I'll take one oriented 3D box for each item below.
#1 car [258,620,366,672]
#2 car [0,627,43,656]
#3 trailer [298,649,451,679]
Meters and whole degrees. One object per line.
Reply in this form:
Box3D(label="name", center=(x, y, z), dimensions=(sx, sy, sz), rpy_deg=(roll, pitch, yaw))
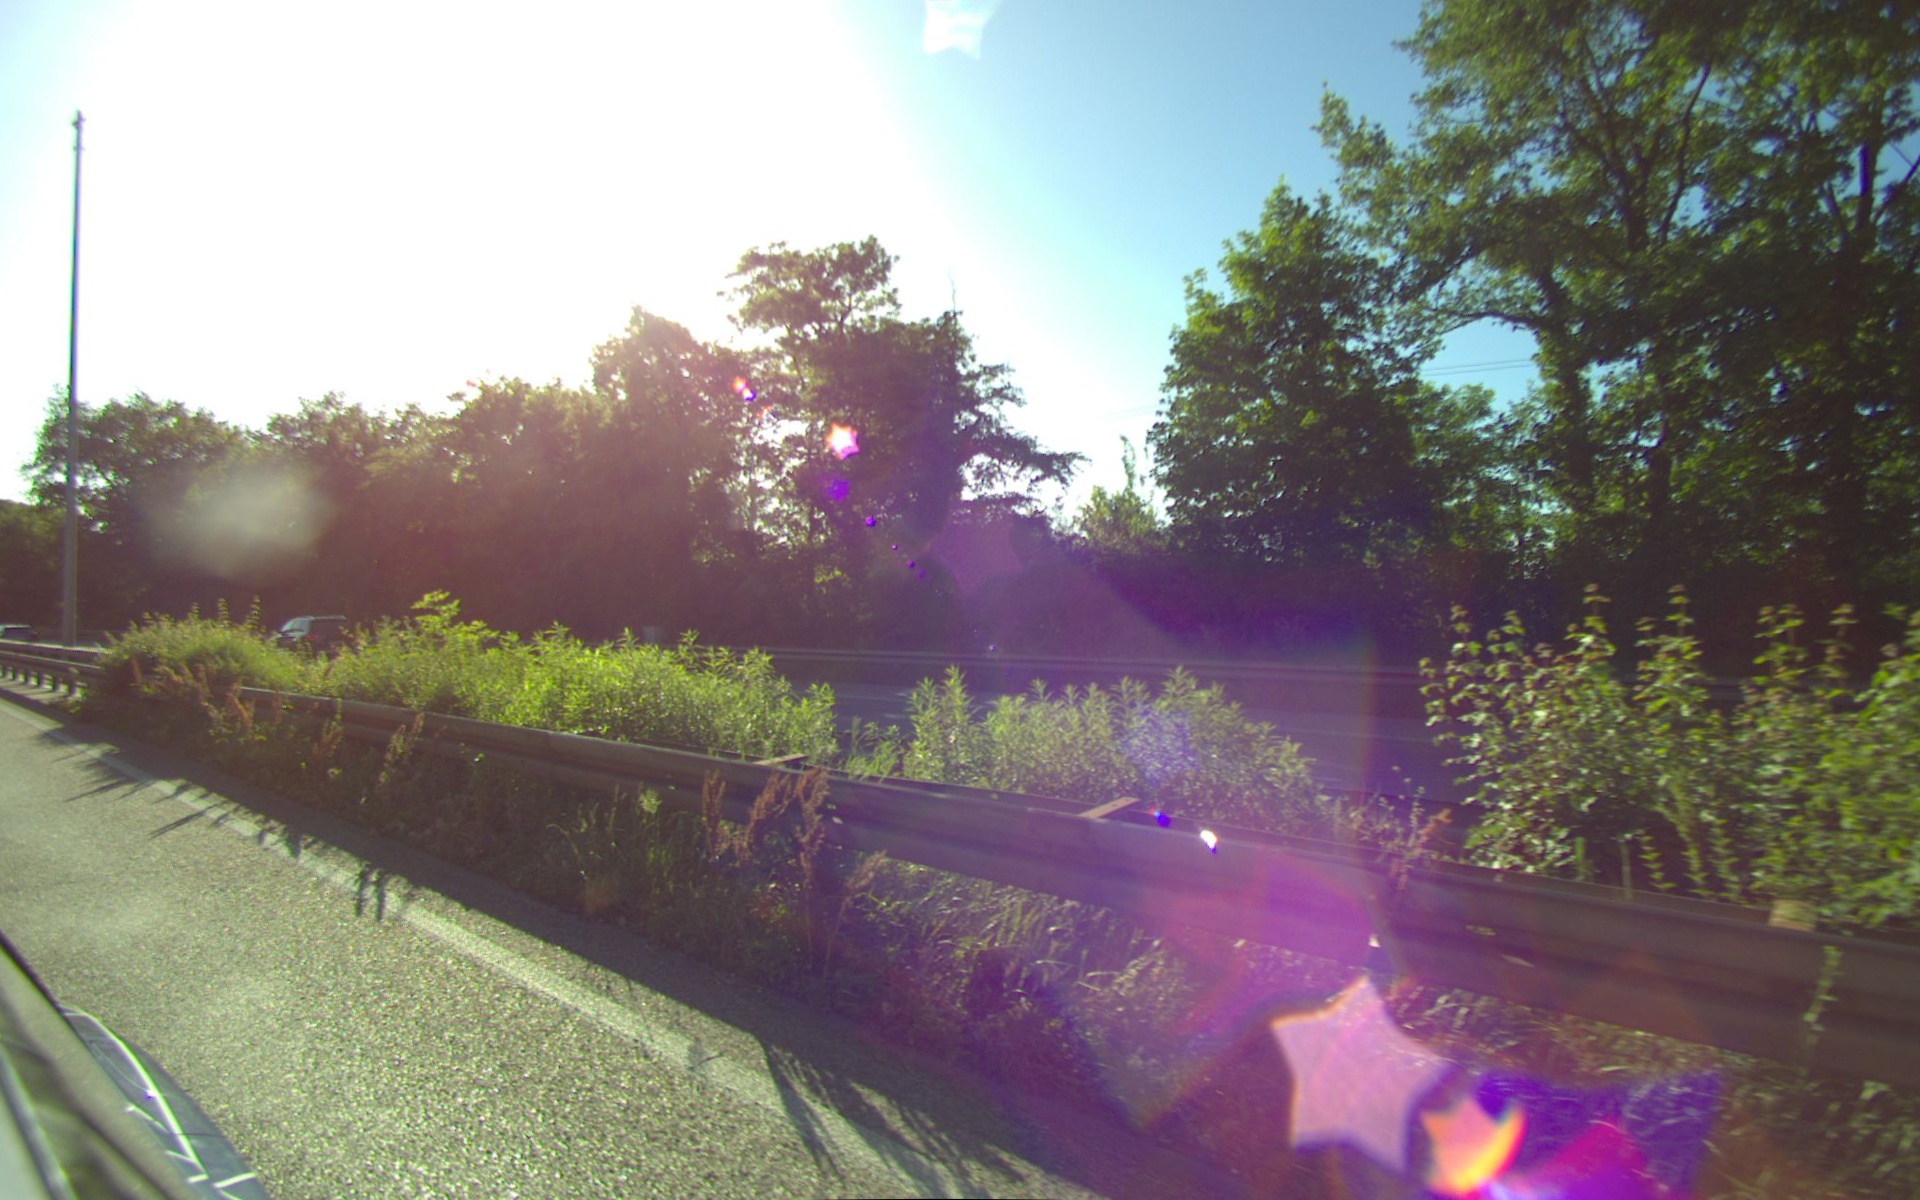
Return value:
Box3D(label="car", center=(-23.266, 1.604, 36.273), dimensions=(4.740, 1.737, 1.941), rpy_deg=(-1, -1, 40))
Box3D(label="car", center=(-51.312, 2.214, 54.708), dimensions=(4.872, 1.478, 1.941), rpy_deg=(-1, -1, 40))
Box3D(label="trailer", center=(-18.944, 2.023, 32.590), dimensions=(6.325, 0.746, 2.236), rpy_deg=(-1, -2, 40))
